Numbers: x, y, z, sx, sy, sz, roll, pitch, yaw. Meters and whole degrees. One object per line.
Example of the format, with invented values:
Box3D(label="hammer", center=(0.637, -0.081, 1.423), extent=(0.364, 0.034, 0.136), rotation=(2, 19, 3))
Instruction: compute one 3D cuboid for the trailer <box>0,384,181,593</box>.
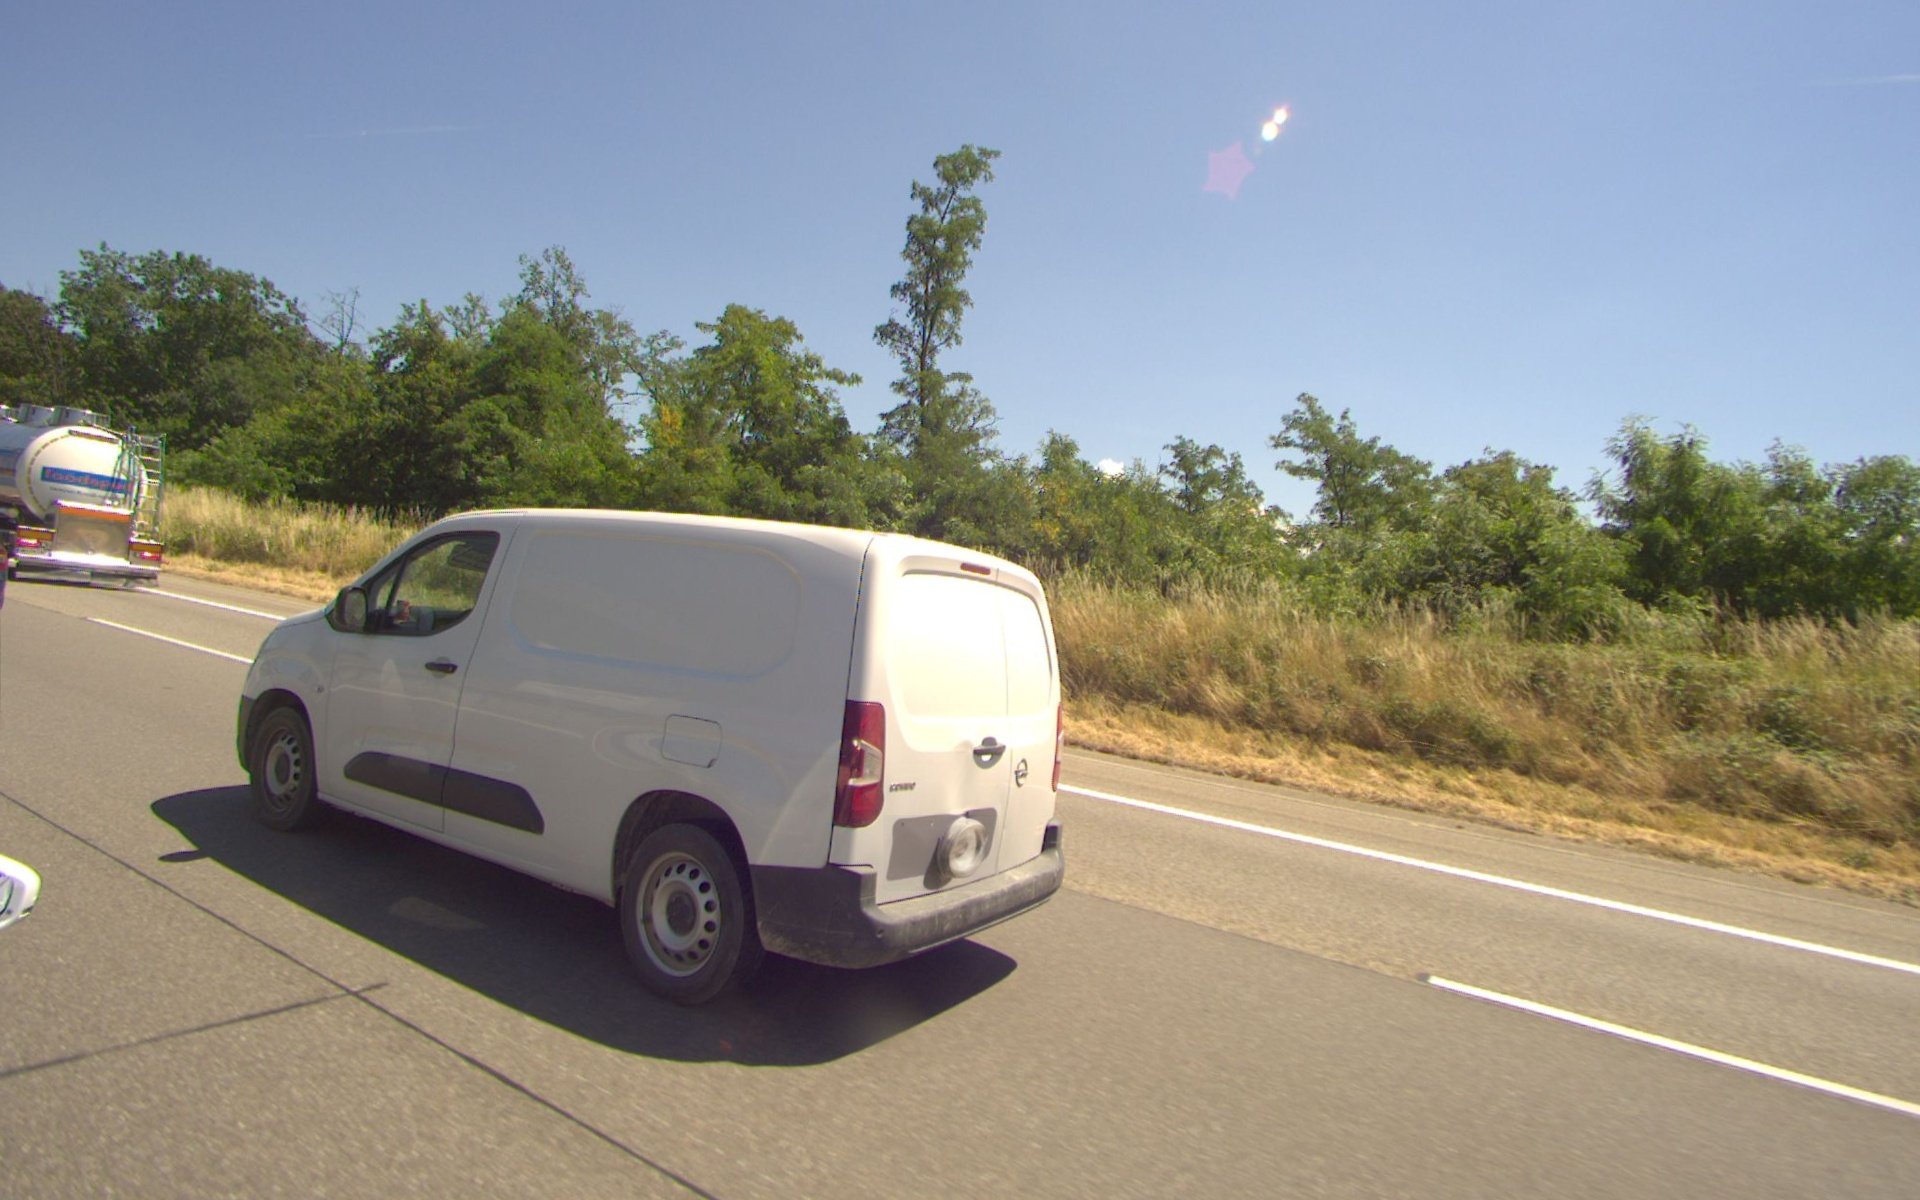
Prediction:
Box3D(label="trailer", center=(-22.304, -2.670, 23.378), extent=(11.358, 3.777, 2.534), rotation=(6, -2, 32))

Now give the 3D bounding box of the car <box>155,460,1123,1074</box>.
Box3D(label="car", center=(-1.868, 0.450, 5.236), extent=(4.858, 1.838, 1.870), rotation=(6, -2, 30))

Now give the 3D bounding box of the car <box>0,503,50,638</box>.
Box3D(label="car", center=(-12.941, -0.593, 12.030), extent=(4.200, 1.500, 1.805), rotation=(6, -2, 31))

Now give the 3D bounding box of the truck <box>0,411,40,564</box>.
Box3D(label="truck", center=(-27.118, -3.199, 26.390), extent=(5.998, 3.777, 2.534), rotation=(6, -1, 32))
